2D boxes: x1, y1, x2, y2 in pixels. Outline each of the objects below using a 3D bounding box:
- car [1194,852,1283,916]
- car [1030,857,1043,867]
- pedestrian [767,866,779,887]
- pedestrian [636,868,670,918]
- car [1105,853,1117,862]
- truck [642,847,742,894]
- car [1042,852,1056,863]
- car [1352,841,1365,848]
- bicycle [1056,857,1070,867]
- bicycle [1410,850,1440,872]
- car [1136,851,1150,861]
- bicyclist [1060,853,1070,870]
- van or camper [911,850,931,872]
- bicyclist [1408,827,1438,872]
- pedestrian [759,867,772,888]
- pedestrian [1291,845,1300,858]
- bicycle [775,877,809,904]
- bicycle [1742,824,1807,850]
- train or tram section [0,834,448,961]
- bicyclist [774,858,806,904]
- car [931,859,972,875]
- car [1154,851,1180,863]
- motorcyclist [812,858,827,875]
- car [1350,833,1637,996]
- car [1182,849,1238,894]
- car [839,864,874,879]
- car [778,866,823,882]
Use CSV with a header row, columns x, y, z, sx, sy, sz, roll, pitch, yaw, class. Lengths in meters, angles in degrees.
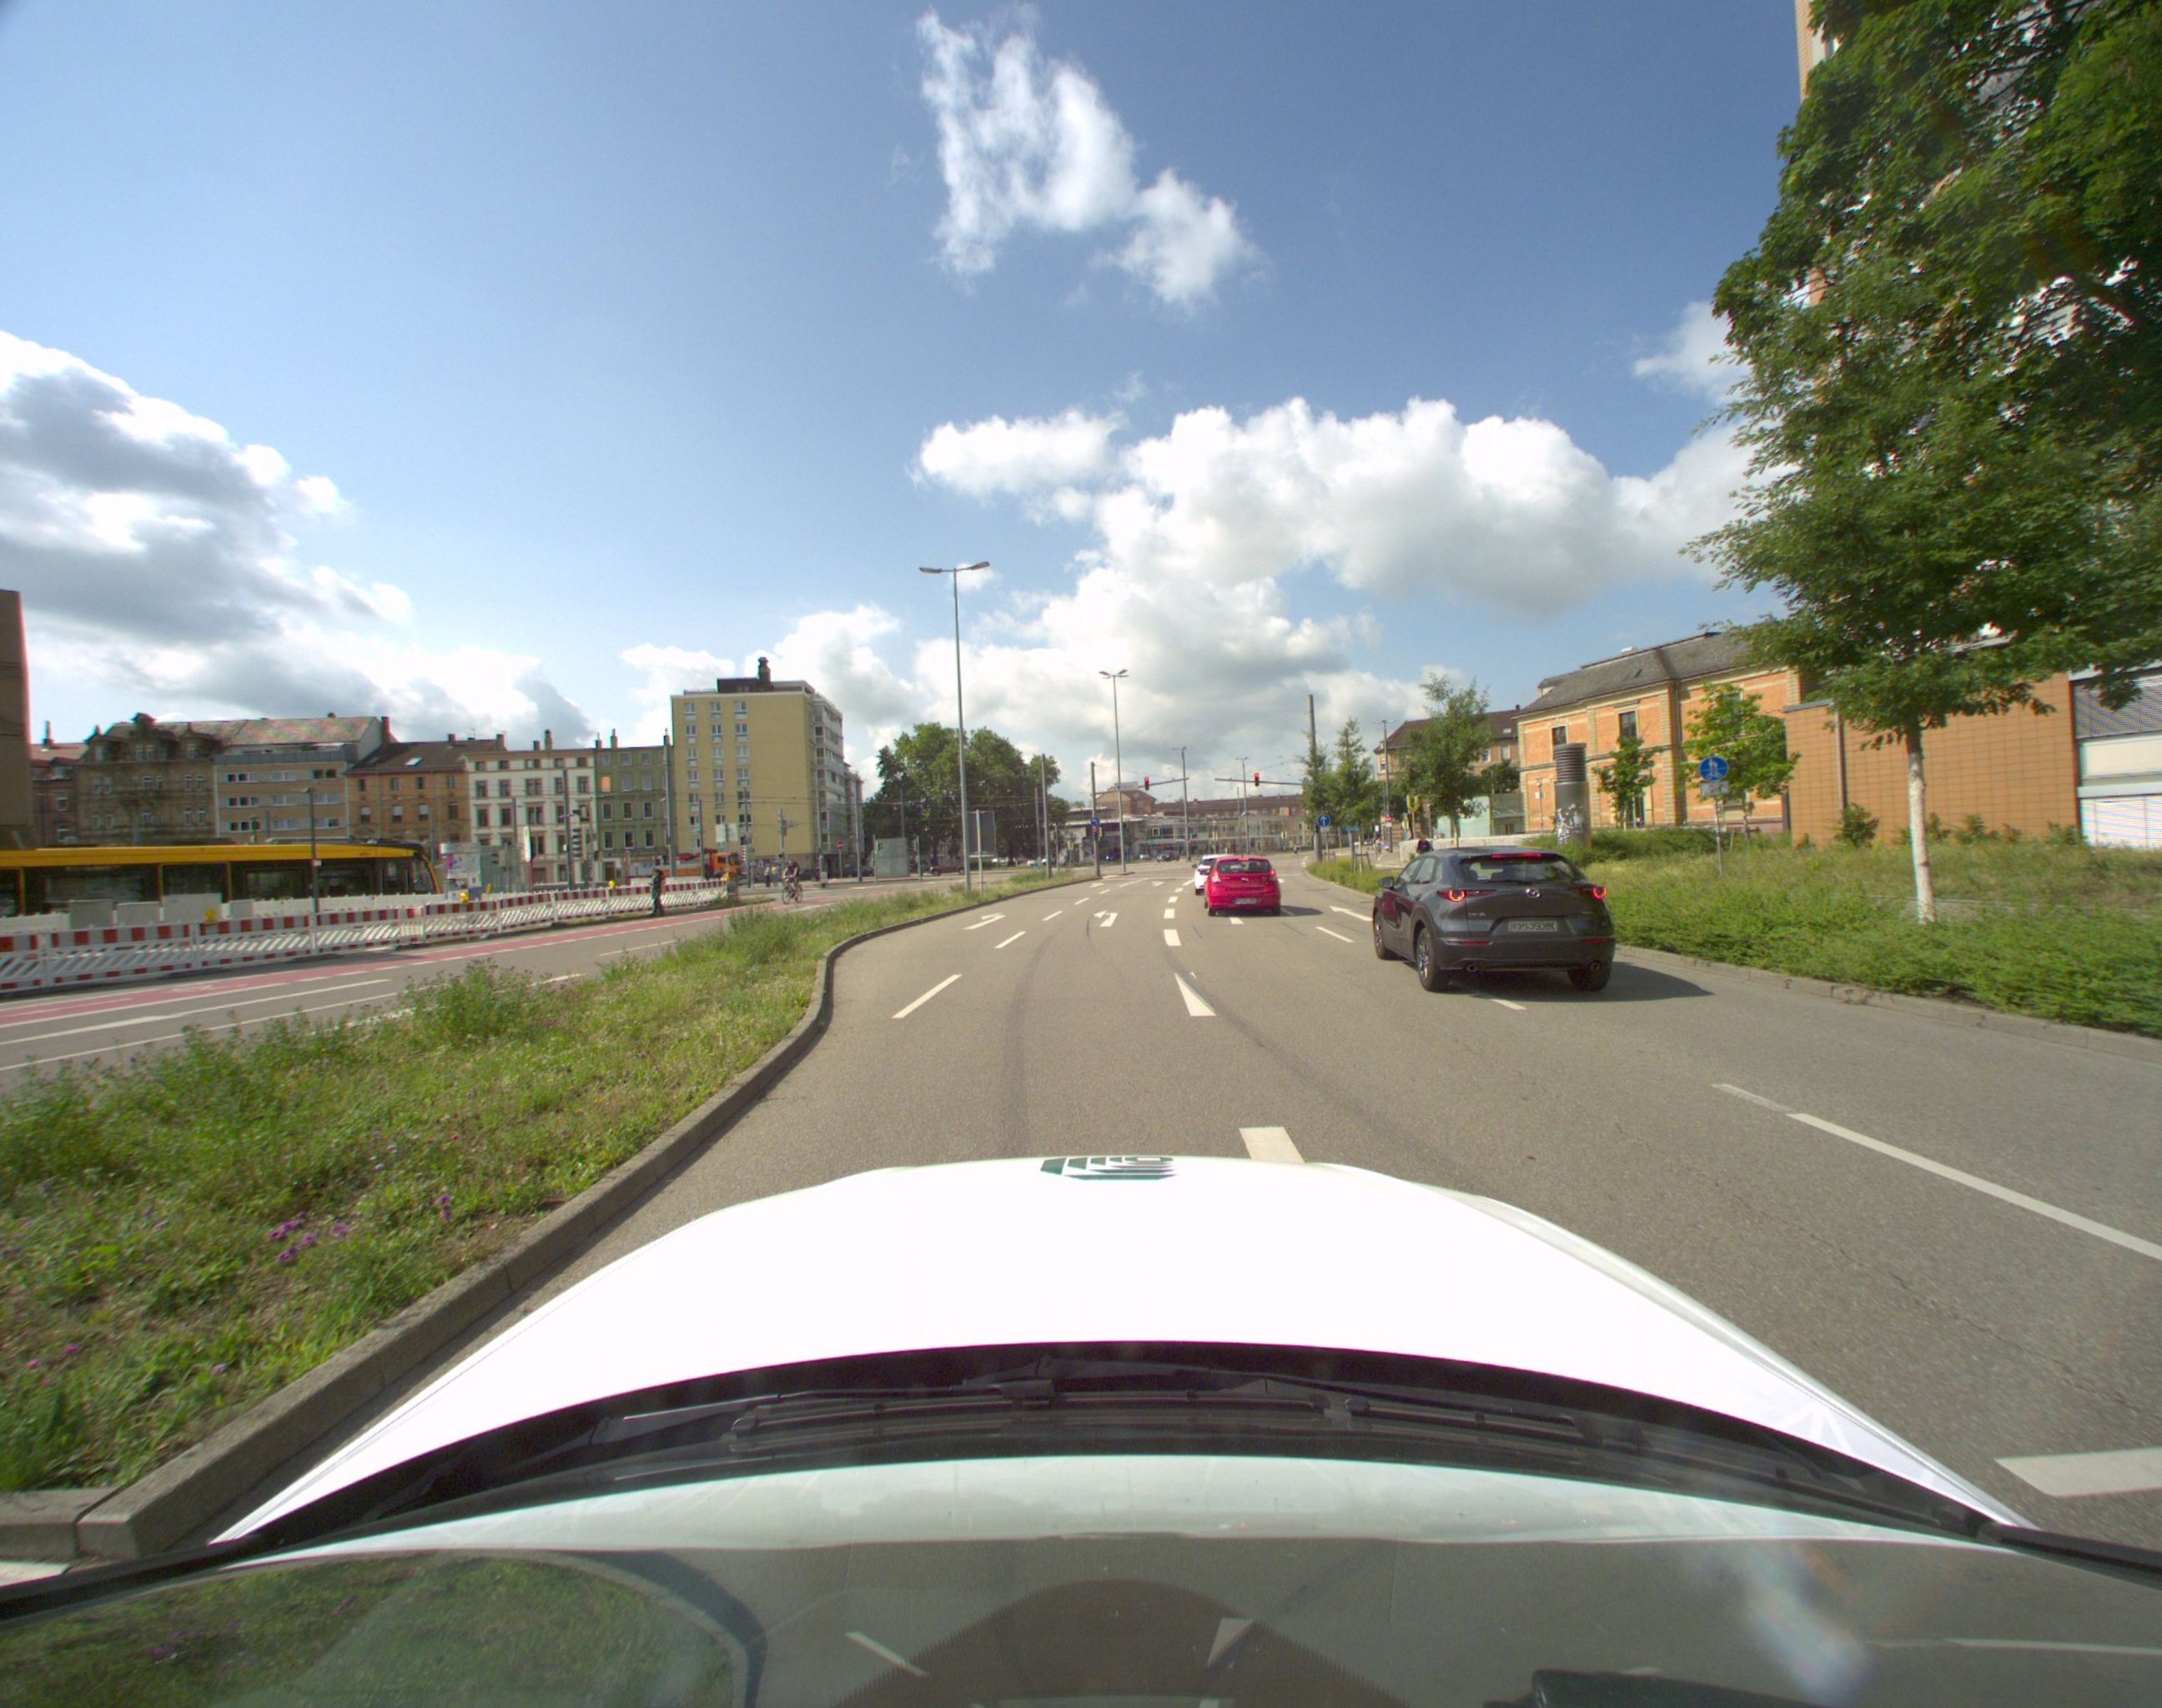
x,y,z,sx,sy,sz,roll,pitch,yaw,class
3.971,0.707,21.152,1.808,1.439,4.072,-2,0,5,car
-8.234,1.433,149.842,1.789,1.769,4.005,-3,0,4,car
-27.794,2.028,73.445,0.646,1.868,0.783,-3,0,10,pedestrian
-14.924,1.368,28.410,0.732,1.681,0.642,-3,0,6,pedestrian
5.448,0.661,146.255,1.985,1.552,4.082,-3,0,3,car
-35.844,1.457,75.240,7.905,3.856,2.195,-3,0,-7,truck
-5.895,0.668,149.801,1.985,2.013,4.005,-3,0,4,car
62.172,-2.155,182.288,1.975,1.442,4.025,-3,0,28,car
-2.036,0.955,94.011,1.466,1.117,0.585,-3,0,-12,bicycle
13.501,0.275,31.983,0.621,0.811,1.793,-4,0,9,bicycle
11.121,0.379,146.526,1.988,1.596,3.998,-3,0,-1,car
-1.858,0.854,94.038,0.886,1.871,0.761,-3,0,-12,bicyclist
-23.344,1.018,118.634,2.584,2.908,6.073,-3,0,-12,van or camper
13.495,-0.187,32.138,0.731,1.702,0.968,-5,-1,8,bicyclist
-28.508,2.084,73.578,0.694,1.860,0.821,-3,0,10,pedestrian
26.302,-0.290,99.956,0.677,1.535,0.668,-3,0,-30,pedestrian
-12.035,1.514,33.951,0.614,1.002,2.019,-2,0,2,bicycle
30.712,-0.733,36.091,0.667,1.072,2.054,-3,0,-25,bicycle
-29.663,1.235,27.699,2.633,3.572,12.493,-3,0,39,train or tram section
-12.073,1.114,33.764,0.807,1.822,1.159,-2,0,1,bicyclist
-13.655,1.328,86.091,4.062,1.508,1.810,-3,0,-6,car
11.451,0.388,108.087,1.974,1.530,4.025,-3,0,30,car
-28.251,1.380,87.920,0.881,1.782,1.247,-3,0,14,motorcyclist
4.592,0.603,9.830,1.796,1.508,4.214,-2,-1,8,car
4.744,0.596,30.247,1.838,1.472,4.344,-3,0,8,car
-28.492,2.213,103.550,3.988,1.662,1.993,-3,0,-11,car
-29.049,2.054,84.338,4.062,1.508,1.810,0,0,-6,car
